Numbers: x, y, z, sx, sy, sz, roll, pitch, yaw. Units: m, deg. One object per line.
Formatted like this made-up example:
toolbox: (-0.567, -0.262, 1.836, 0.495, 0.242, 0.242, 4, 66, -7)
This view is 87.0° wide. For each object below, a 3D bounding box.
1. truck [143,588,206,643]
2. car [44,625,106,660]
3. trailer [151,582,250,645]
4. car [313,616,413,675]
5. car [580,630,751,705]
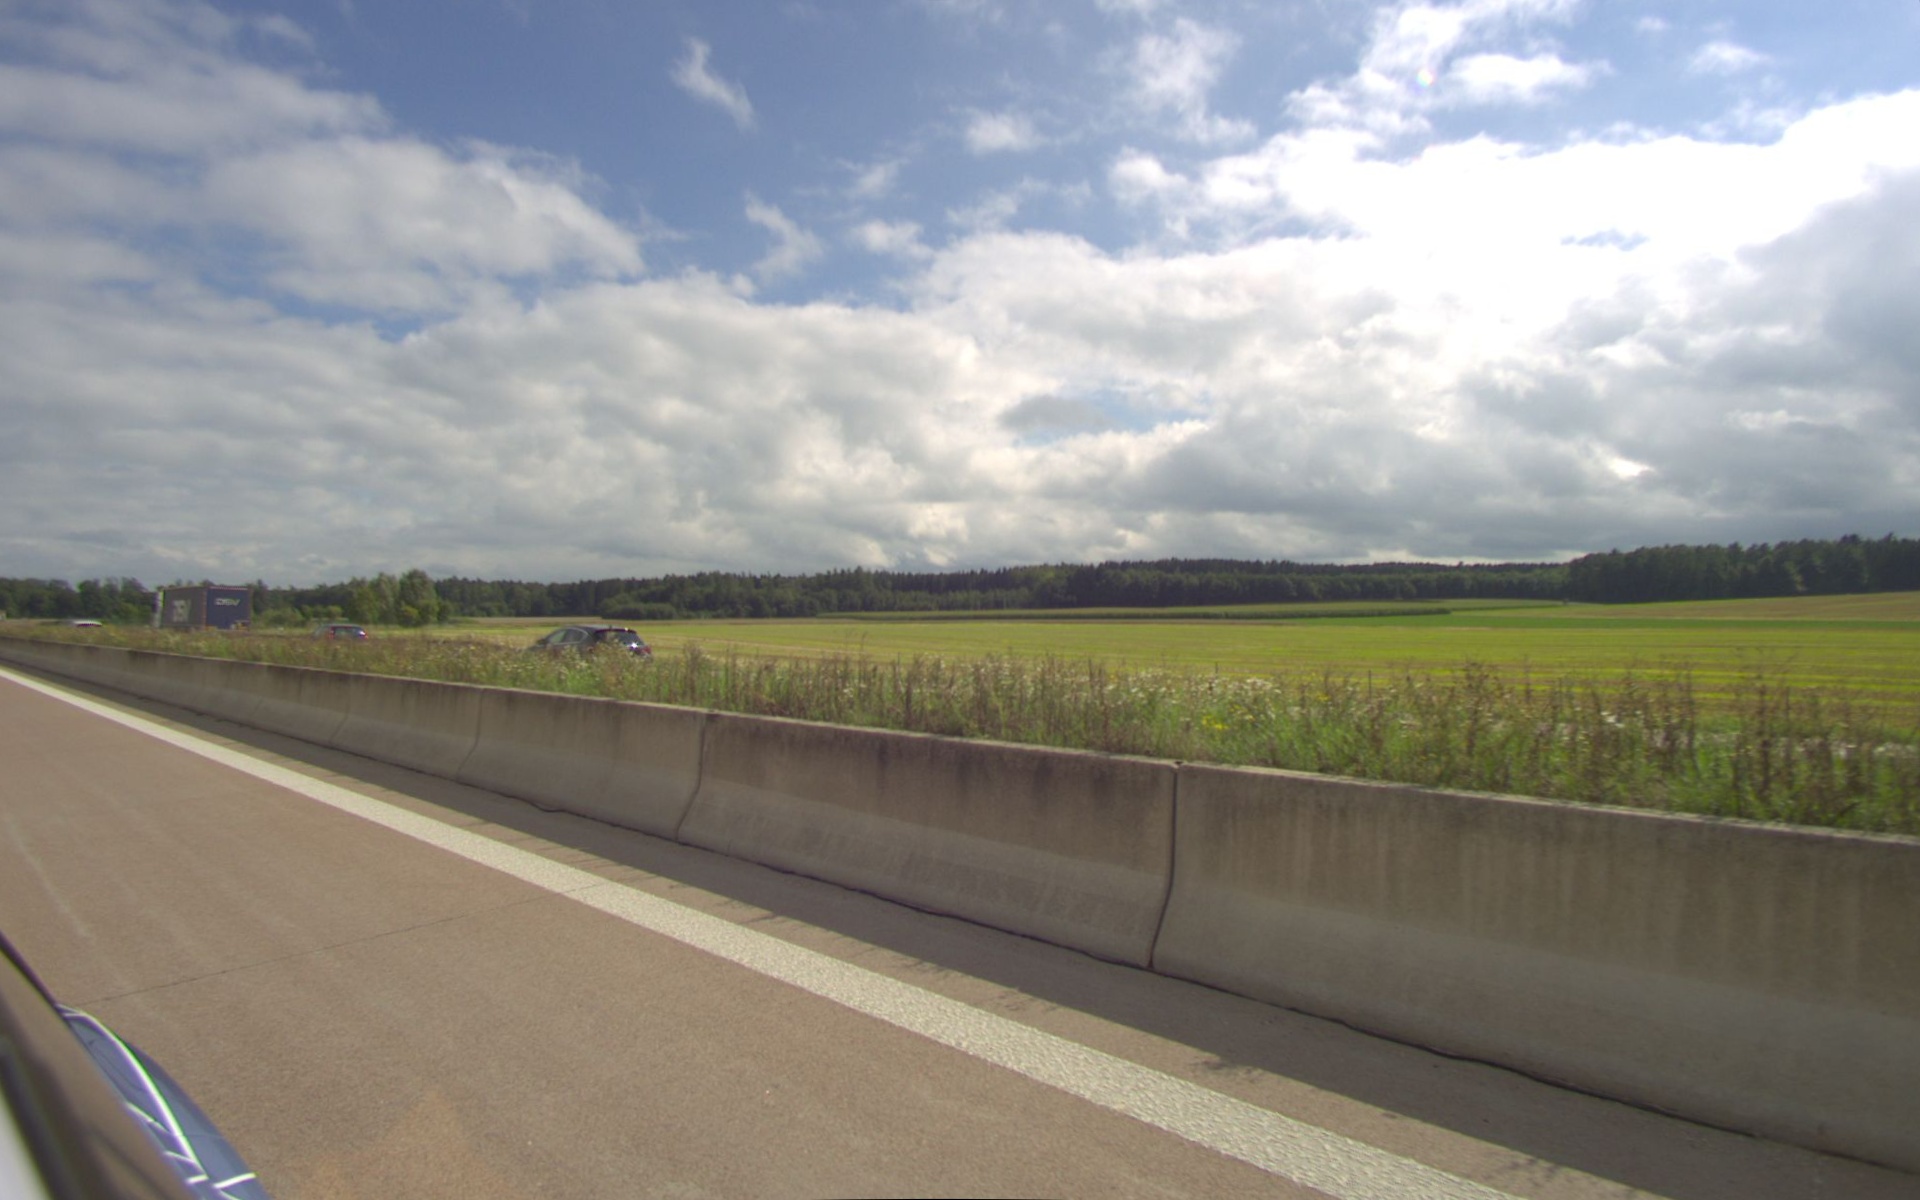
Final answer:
truck: (-58.298, 1.173, 75.073, 5.288, 3.989, 2.741, -1, -2, 42)
car: (-51.499, 2.461, 58.848, 5.882, 1.923, 1.972, -1, -2, 42)
trailer: (-52.970, 1.013, 70.329, 14.325, 3.989, 2.741, -1, -2, 42)
car: (-21.852, 1.627, 36.986, 3.998, 2.029, 1.973, -1, -3, 41)
car: (-6.530, 1.426, 22.242, 3.999, 1.475, 1.763, -1, -3, 42)
